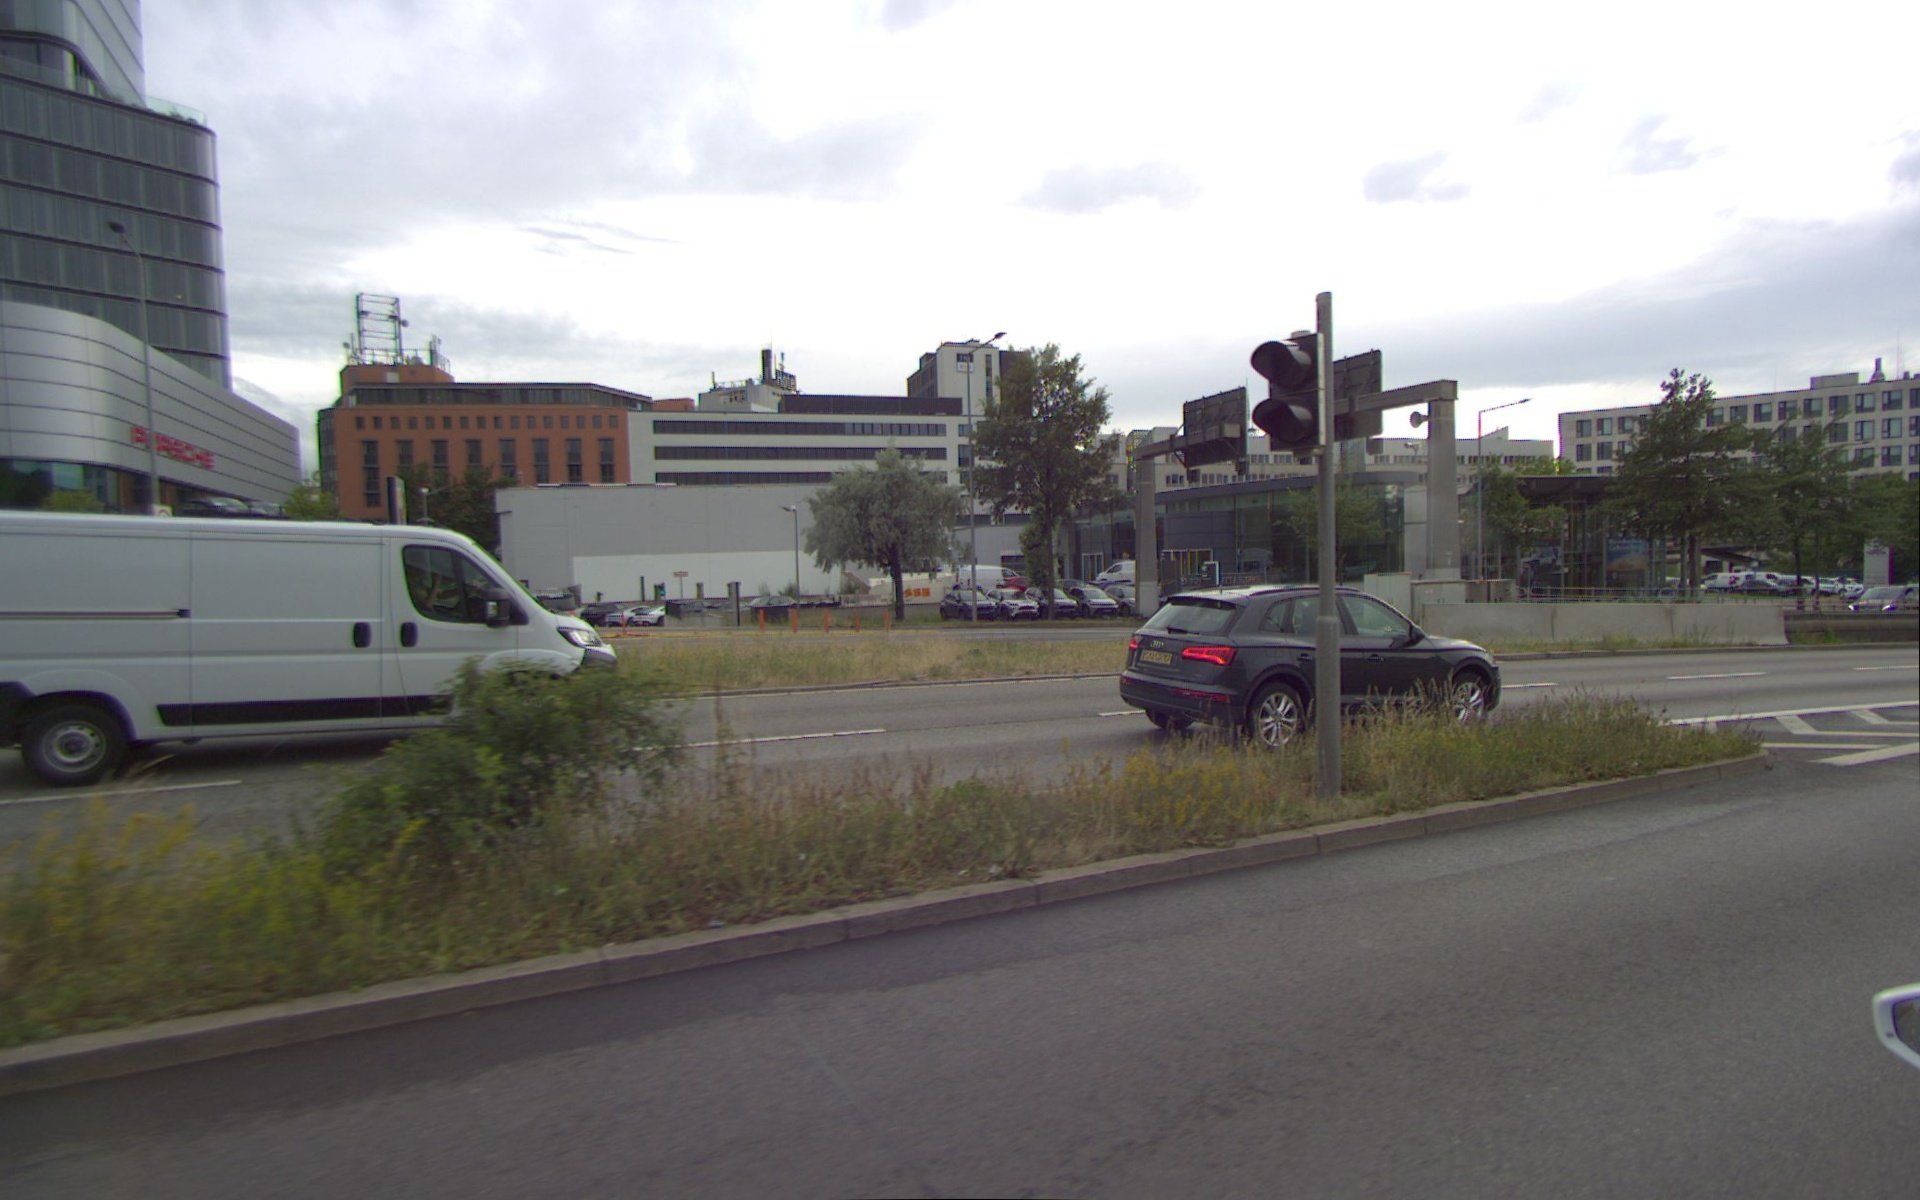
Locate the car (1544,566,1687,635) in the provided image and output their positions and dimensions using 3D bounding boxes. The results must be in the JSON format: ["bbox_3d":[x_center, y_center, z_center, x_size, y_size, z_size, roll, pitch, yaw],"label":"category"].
[{"bbox_3d":[17.864,-0.029,27.381,3.500,1.612,1.682,-3,5,-25],"label":"car"}]

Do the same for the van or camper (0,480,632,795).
[{"bbox_3d":[-6.237,0.307,9.834,5.462,2.471,2.194,1,0,-29],"label":"van or camper"}]

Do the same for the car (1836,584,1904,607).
[{"bbox_3d":[74.921,-0.394,82.792,3.936,1.673,1.992,4,4,38],"label":"car"}]

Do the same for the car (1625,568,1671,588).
[{"bbox_3d":[74.613,-2.383,108.993,3.928,2.077,1.996,1,5,29],"label":"car"}]

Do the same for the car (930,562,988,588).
[{"bbox_3d":[-0.092,-1.913,75.815,3.936,1.707,1.915,-2,4,-18],"label":"car"}]

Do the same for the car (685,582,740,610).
[{"bbox_3d":[-17.658,-0.287,71.906,1.960,1.729,3.999,0,4,18],"label":"car"}]

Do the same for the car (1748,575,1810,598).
[{"bbox_3d":[76.175,-1.318,93.465,1.968,2.041,3.984,0,2,-18],"label":"car"}]

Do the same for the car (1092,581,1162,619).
[{"bbox_3d":[8.785,-0.028,53.247,1.895,1.707,3.978,-3,4,-22],"label":"car"}]

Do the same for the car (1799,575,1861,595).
[{"bbox_3d":[83.309,-1.441,96.244,1.968,1.673,3.983,-2,4,-17],"label":"car"}]

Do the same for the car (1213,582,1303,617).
[{"bbox_3d":[16.524,-0.062,55.905,4.416,1.707,1.921,-1,4,-5],"label":"car"}]

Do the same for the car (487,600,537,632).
[{"bbox_3d":[-28.217,0.977,63.235,1.981,1.707,3.957,-4,5,-37],"label":"car"}]

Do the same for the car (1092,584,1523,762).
[{"bbox_3d":[3.927,0.685,11.215,4.685,1.639,1.745,0,2,-26],"label":"car"}]

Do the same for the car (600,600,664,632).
[{"bbox_3d":[-21.654,1.026,66.511,1.960,1.707,3.999,0,4,18],"label":"car"}]

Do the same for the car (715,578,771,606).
[{"bbox_3d":[-14.985,-0.589,69.573,1.960,1.729,3.999,0,4,18],"label":"car"}]

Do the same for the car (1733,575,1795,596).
[{"bbox_3d":[73.820,-1.383,92.242,1.972,1.673,3.975,-3,4,-24],"label":"car"}]

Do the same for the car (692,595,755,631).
[{"bbox_3d":[-14.671,0.750,62.532,1.960,1.907,3.999,0,4,18],"label":"car"}]

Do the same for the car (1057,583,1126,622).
[{"bbox_3d":[6.783,0.076,52.294,1.895,1.707,3.978,-3,4,-22],"label":"car"}]

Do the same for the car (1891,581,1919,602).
[{"bbox_3d":[82.117,-0.704,85.290,1.970,1.673,3.980,0,4,-20],"label":"car"}]

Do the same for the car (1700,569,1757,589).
[{"bbox_3d":[75.417,-2.087,98.616,1.972,1.673,3.975,-3,4,-24],"label":"car"}]

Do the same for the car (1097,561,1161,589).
[{"bbox_3d":[11.636,-1.754,69.182,3.936,1.807,1.915,2,5,38],"label":"car"}]

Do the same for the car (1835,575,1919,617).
[{"bbox_3d":[44.215,-0.234,48.073,3.944,1.774,1.988,-3,4,-24],"label":"car"}]

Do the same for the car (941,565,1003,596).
[{"bbox_3d":[0.845,-1.396,70.177,3.935,1.907,1.992,-2,4,-17],"label":"car"}]

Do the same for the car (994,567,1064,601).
[{"bbox_3d":[4.311,-1.043,62.962,3.935,1.907,1.900,-2,4,-17],"label":"car"}]

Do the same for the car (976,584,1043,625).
[{"bbox_3d":[2.452,0.188,50.441,1.895,1.707,3.978,-3,4,-22],"label":"car"}]

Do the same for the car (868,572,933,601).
[{"bbox_3d":[-3.934,-0.935,66.571,3.936,1.707,1.915,-2,4,-18],"label":"car"}]

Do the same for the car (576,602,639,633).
[{"bbox_3d":[-23.811,1.130,67.973,1.960,1.707,3.999,0,4,18],"label":"car"}]

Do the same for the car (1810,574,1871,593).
[{"bbox_3d":[85.469,-1.626,97.590,1.968,1.673,3.983,-2,4,-17],"label":"car"}]

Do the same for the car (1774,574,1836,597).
[{"bbox_3d":[78.660,-1.370,93.588,1.968,1.902,3.983,-2,4,-17],"label":"car"}]

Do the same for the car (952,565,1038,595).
[{"bbox_3d":[2.375,-1.357,68.159,5.447,1.907,1.992,-1,4,-18],"label":"car"}]

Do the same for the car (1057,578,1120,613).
[{"bbox_3d":[7.321,-0.284,57.466,1.895,1.707,3.978,-3,4,-22],"label":"car"}]

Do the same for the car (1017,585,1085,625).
[{"bbox_3d":[4.596,0.194,51.341,1.895,1.707,3.978,-3,4,-22],"label":"car"}]

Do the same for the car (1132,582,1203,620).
[{"bbox_3d":[11.139,0.022,54.058,1.895,1.707,3.978,-3,4,-22],"label":"car"}]

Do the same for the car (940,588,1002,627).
[{"bbox_3d":[0.505,0.321,49.613,1.674,1.622,3.992,-3,4,-22],"label":"car"}]

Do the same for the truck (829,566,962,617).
[{"bbox_3d":[-3.689,-0.546,57.835,7.300,2.563,2.361,-3,4,-21],"label":"truck"}]

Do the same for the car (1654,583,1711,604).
[{"bbox_3d":[68.289,-0.621,94.964,1.968,1.673,3.983,-2,4,-17],"label":"car"}]

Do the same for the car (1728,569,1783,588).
[{"bbox_3d":[80.649,-2.224,101.854,1.797,1.673,3.973,-3,5,-26],"label":"car"}]

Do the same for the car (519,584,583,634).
[{"bbox_3d":[-24.174,0.483,59.301,2.505,2.524,5.106,-4,5,-33],"label":"car"}]

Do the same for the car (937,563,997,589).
[{"bbox_3d":[0.491,-1.772,72.798,3.936,1.707,1.915,-2,4,-18],"label":"car"}]

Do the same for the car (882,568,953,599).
[{"bbox_3d":[-2.618,-1.023,61.685,3.936,1.707,1.915,-2,4,-18],"label":"car"}]

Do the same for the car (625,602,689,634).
[{"bbox_3d":[-19.477,1.104,64.833,1.960,1.707,3.999,0,4,18],"label":"car"}]
